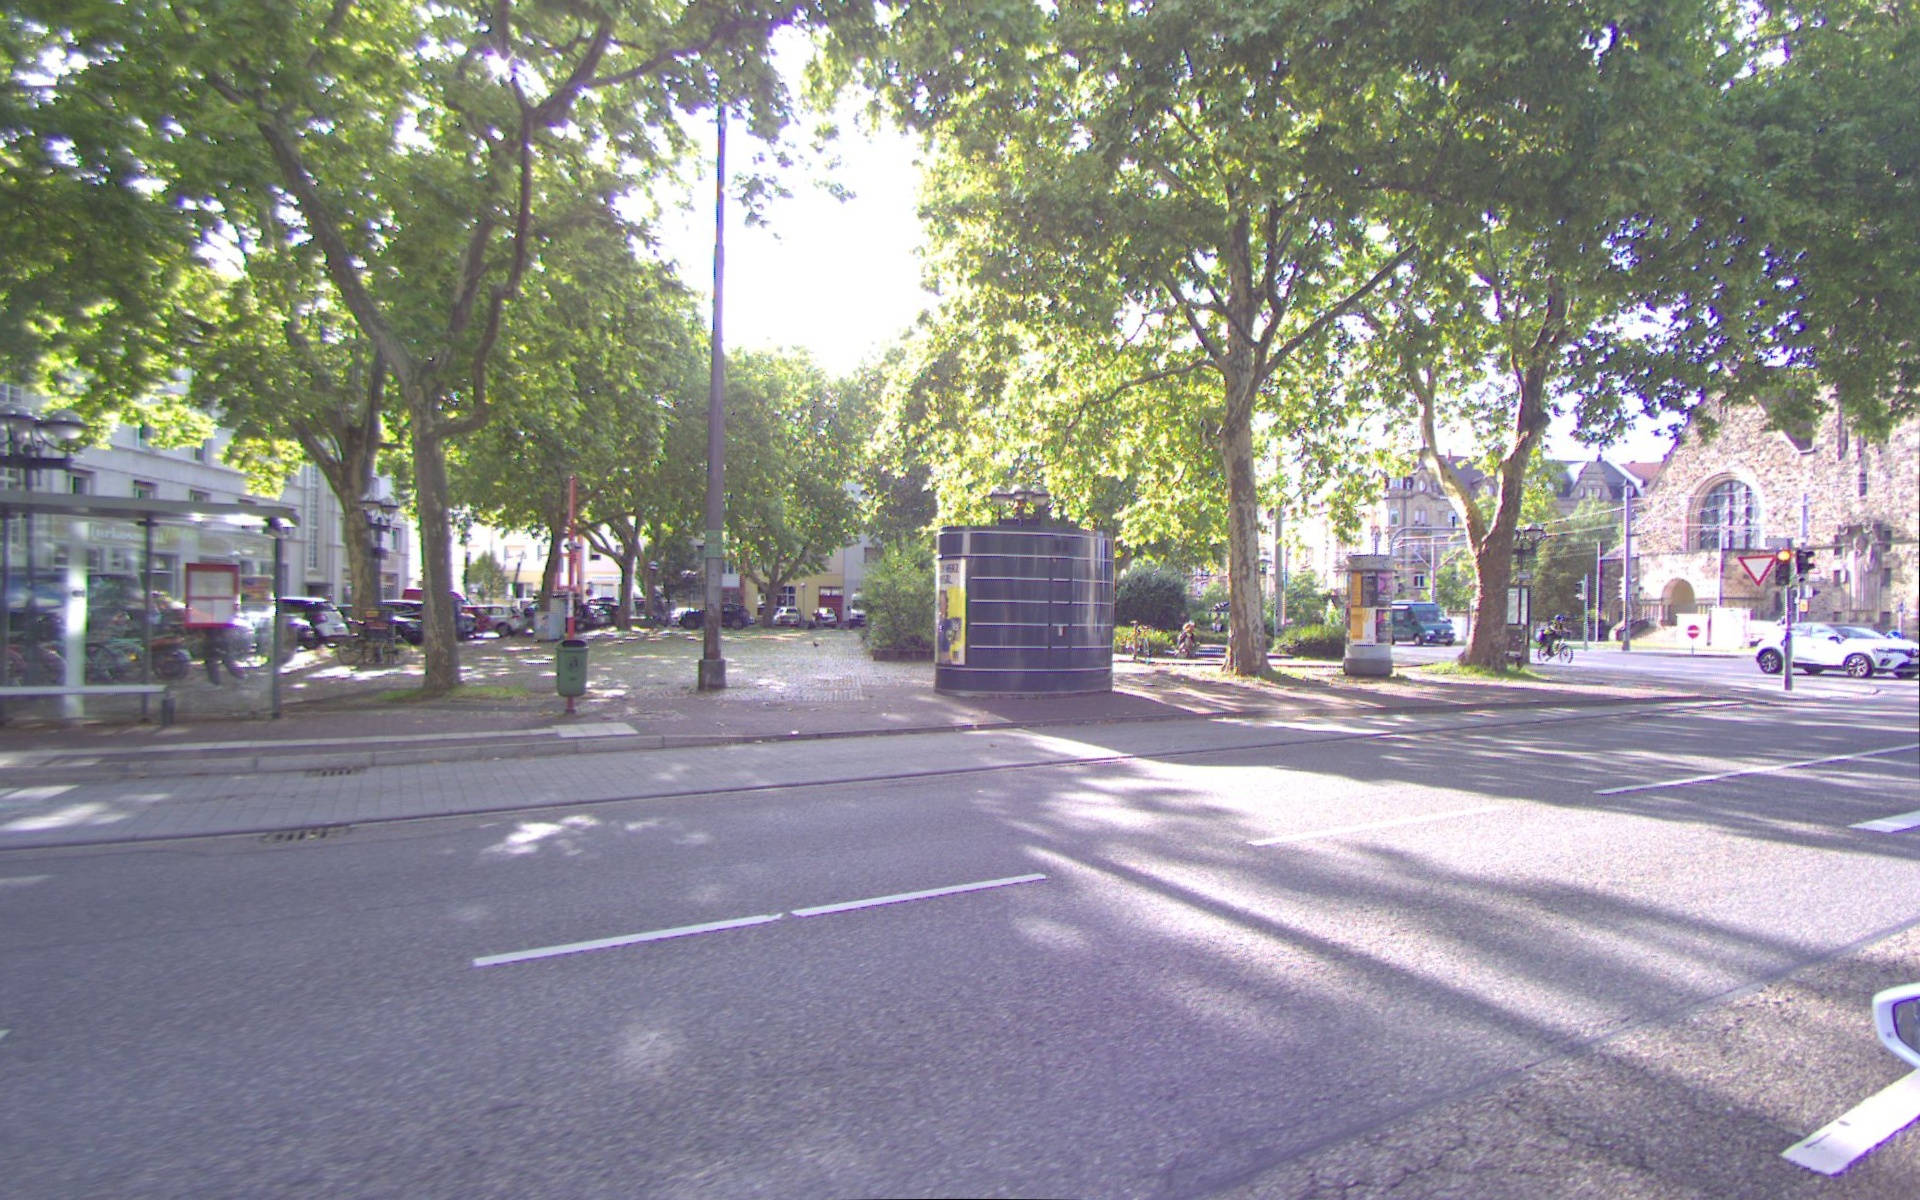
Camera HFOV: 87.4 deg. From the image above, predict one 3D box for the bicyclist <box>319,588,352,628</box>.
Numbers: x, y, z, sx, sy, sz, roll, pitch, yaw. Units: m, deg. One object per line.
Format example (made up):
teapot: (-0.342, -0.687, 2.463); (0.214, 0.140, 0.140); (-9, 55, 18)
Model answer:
bicyclist: (-26.838, 0.336, 43.189); (0.799, 1.714, 1.112); (1, 0, -6)

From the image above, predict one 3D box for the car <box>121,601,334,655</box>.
car: (-19.868, 0.747, 27.425); (4.307, 1.396, 1.858); (1, 0, -8)

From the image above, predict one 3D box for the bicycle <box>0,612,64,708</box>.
bicycle: (-13.635, 0.758, 13.370); (2.063, 1.225, 1.393); (3, -1, -7)

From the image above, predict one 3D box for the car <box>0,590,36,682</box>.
car: (-19.101, 0.610, 17.476); (4.198, 1.638, 1.681); (1, 0, -8)

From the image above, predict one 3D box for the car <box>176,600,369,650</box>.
car: (-20.282, 0.725, 29.793); (4.307, 1.396, 1.858); (1, 0, -8)

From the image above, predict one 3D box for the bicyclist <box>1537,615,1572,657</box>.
bicyclist: (22.180, 1.338, 37.489); (0.703, 1.523, 0.882); (1, 0, -12)

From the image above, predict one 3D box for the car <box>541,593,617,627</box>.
car: (-23.601, 0.610, 62.330); (3.924, 1.868, 1.998); (2, 2, -5)

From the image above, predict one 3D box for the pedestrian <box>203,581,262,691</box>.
pedestrian: (-11.778, 0.569, 16.282); (0.698, 1.738, 0.498); (1, 0, -29)

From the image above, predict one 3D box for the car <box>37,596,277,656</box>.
car: (-19.909, 0.642, 25.087); (4.307, 1.396, 1.858); (1, 0, -8)

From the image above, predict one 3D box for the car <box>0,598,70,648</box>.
car: (-30.244, 0.694, 31.219); (3.496, 1.492, 1.648); (1, 0, -10)

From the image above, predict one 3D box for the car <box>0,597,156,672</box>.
car: (-18.752, 0.650, 19.681); (4.307, 1.396, 1.858); (1, 0, -8)

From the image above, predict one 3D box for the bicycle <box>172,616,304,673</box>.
bicycle: (-14.556, 0.898, 20.296); (2.055, 1.096, 0.702); (1, 0, -7)

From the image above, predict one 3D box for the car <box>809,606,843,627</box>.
car: (-9.798, 1.179, 73.591); (2.070, 1.466, 4.490); (1, 0, -3)

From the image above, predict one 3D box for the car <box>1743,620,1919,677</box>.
car: (25.935, 1.381, 29.701); (1.864, 1.499, 4.254); (1, 0, -10)

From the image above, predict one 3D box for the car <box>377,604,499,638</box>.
car: (-22.667, 0.902, 43.730); (4.307, 1.396, 1.858); (1, 0, -8)

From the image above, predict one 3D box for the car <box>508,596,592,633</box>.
car: (-23.105, 0.780, 56.729); (3.924, 1.868, 1.998); (2, 2, -5)

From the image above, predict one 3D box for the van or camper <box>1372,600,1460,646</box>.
van or camper: (25.683, 1.244, 56.815); (2.142, 2.467, 5.466); (1, 0, -5)

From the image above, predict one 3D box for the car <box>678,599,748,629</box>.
car: (-15.014, 0.864, 61.215); (3.927, 1.795, 1.888); (1, 0, -9)

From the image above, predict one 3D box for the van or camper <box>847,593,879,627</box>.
van or camper: (-7.040, 0.723, 73.393); (2.070, 2.359, 4.490); (1, 0, -3)

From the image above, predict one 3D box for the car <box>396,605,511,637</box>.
car: (-23.034, 0.935, 45.820); (4.307, 1.396, 1.858); (1, 0, -8)

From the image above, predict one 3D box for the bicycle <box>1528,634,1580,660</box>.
bicycle: (22.170, 1.749, 37.521); (0.693, 0.887, 1.723); (1, 0, -11)

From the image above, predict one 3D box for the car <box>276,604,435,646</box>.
car: (-20.974, 0.864, 35.014); (4.307, 1.396, 1.858); (1, 0, -8)

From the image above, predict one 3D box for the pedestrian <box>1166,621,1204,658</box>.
pedestrian: (6.285, 1.108, 28.125); (1.019, 0.993, 0.761); (1, 0, 11)

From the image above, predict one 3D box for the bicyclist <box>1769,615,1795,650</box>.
bicyclist: (40.294, 1.603, 49.233); (0.705, 1.684, 0.726); (1, 0, 12)
